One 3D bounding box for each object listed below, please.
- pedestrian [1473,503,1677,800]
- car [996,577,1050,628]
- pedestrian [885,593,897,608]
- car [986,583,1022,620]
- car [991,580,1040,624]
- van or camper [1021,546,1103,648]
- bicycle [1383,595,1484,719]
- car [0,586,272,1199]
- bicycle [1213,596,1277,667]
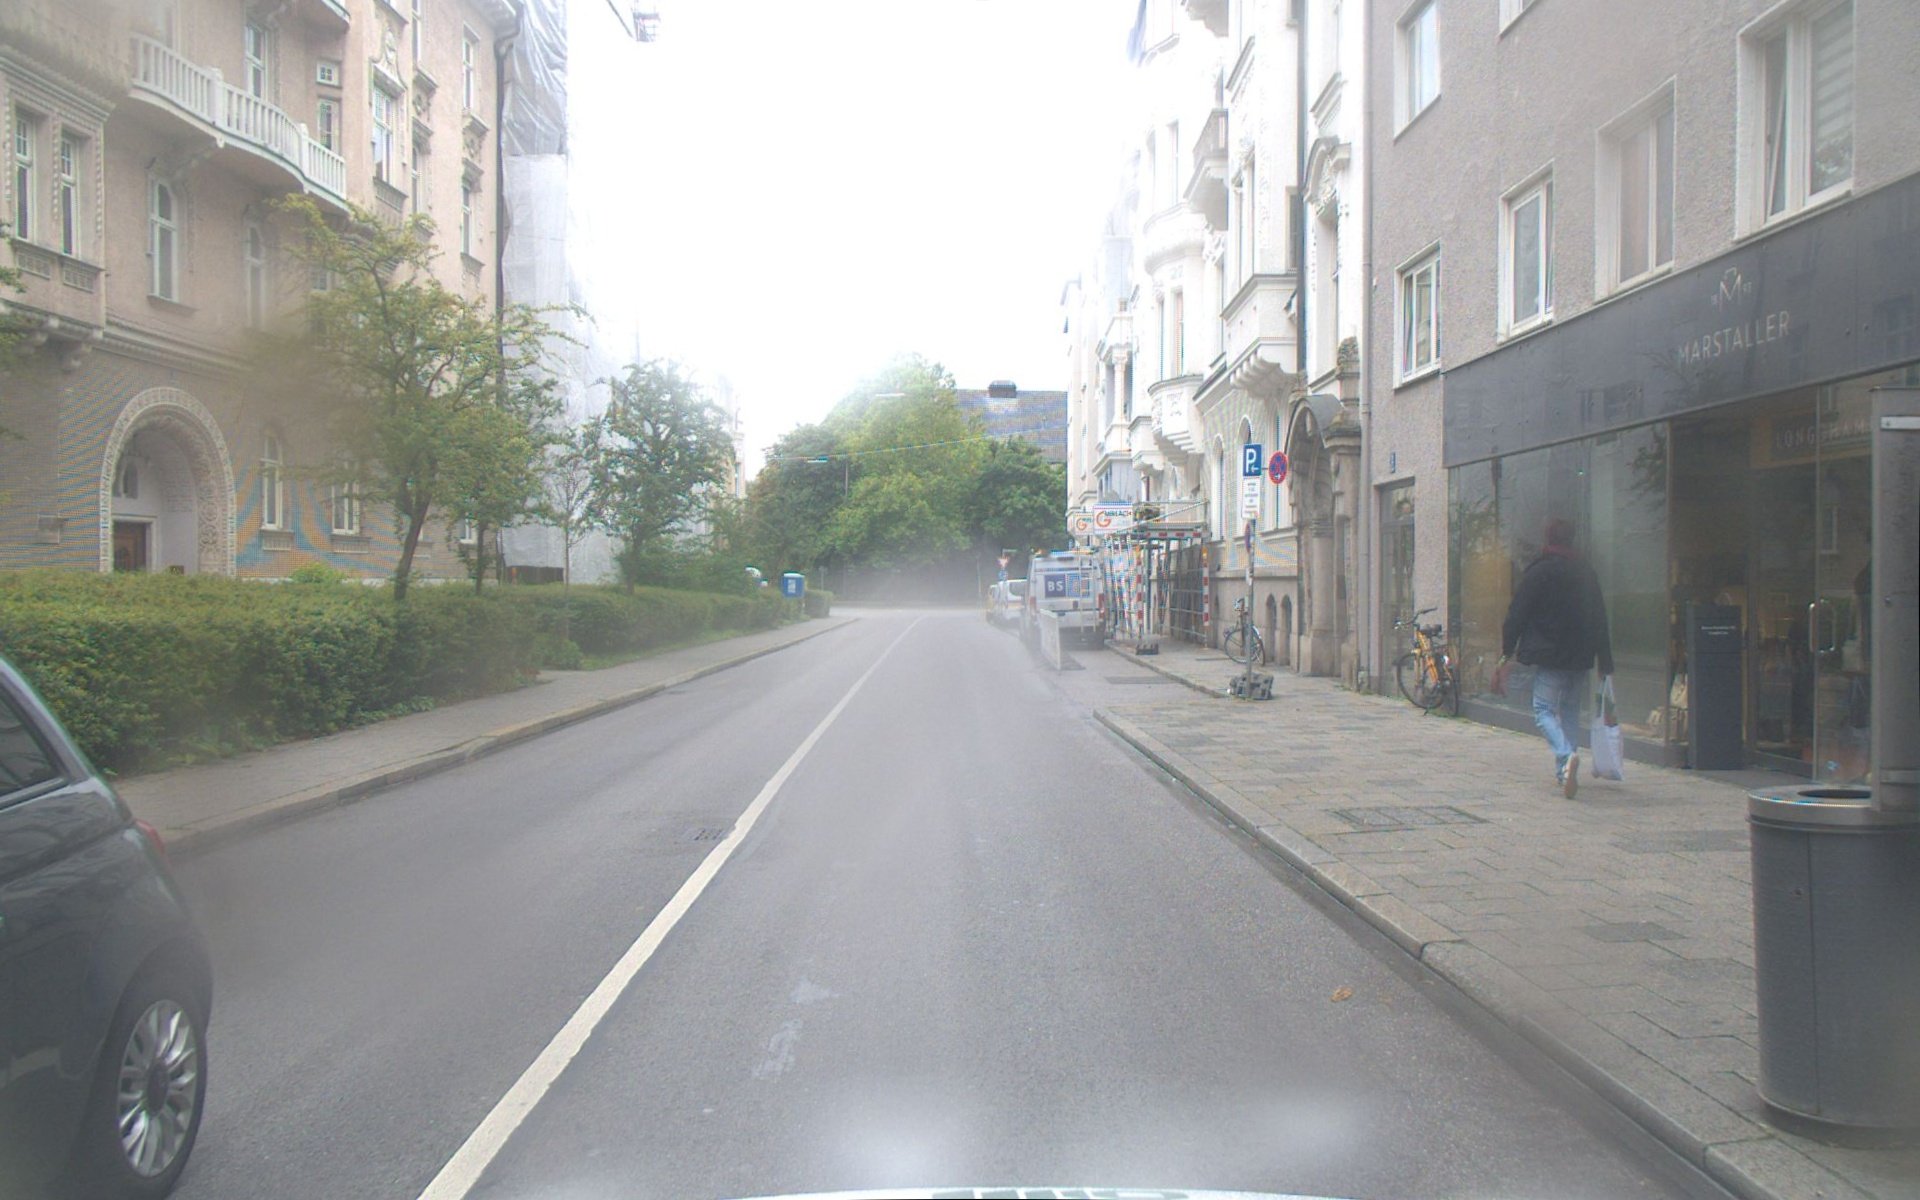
[{"bbox_3d":[4.292,0.341,11.638,0.908,1.943,1.179,-2,0,-1],"label":"pedestrian"},{"bbox_3d":[2.660,0.087,70.639,1.920,2.049,4.991,-1,0,-2],"label":"car"},{"bbox_3d":[-5.399,0.025,129.223,0.794,1.209,0.920,0,0,6],"label":"pedestrian"},{"bbox_3d":[2.357,0.070,87.912,1.812,1.885,4.822,0,0,3],"label":"car"},{"bbox_3d":[2.540,0.086,76.808,1.920,1.971,4.991,-1,0,-2],"label":"car"},{"bbox_3d":[2.772,-0.087,46.029,1.913,2.683,5.458,0,0,0],"label":"van or camper"},{"bbox_3d":[5.265,0.599,18.472,0.502,1.282,1.819,-4,0,-1],"label":"bicycle"},{"bbox_3d":[-2.644,0.737,2.629,1.552,1.505,3.782,-1,0,-1],"label":"car"},{"bbox_3d":[5.239,0.556,30.509,0.647,1.227,1.920,-4,0,-4],"label":"bicycle"}]
